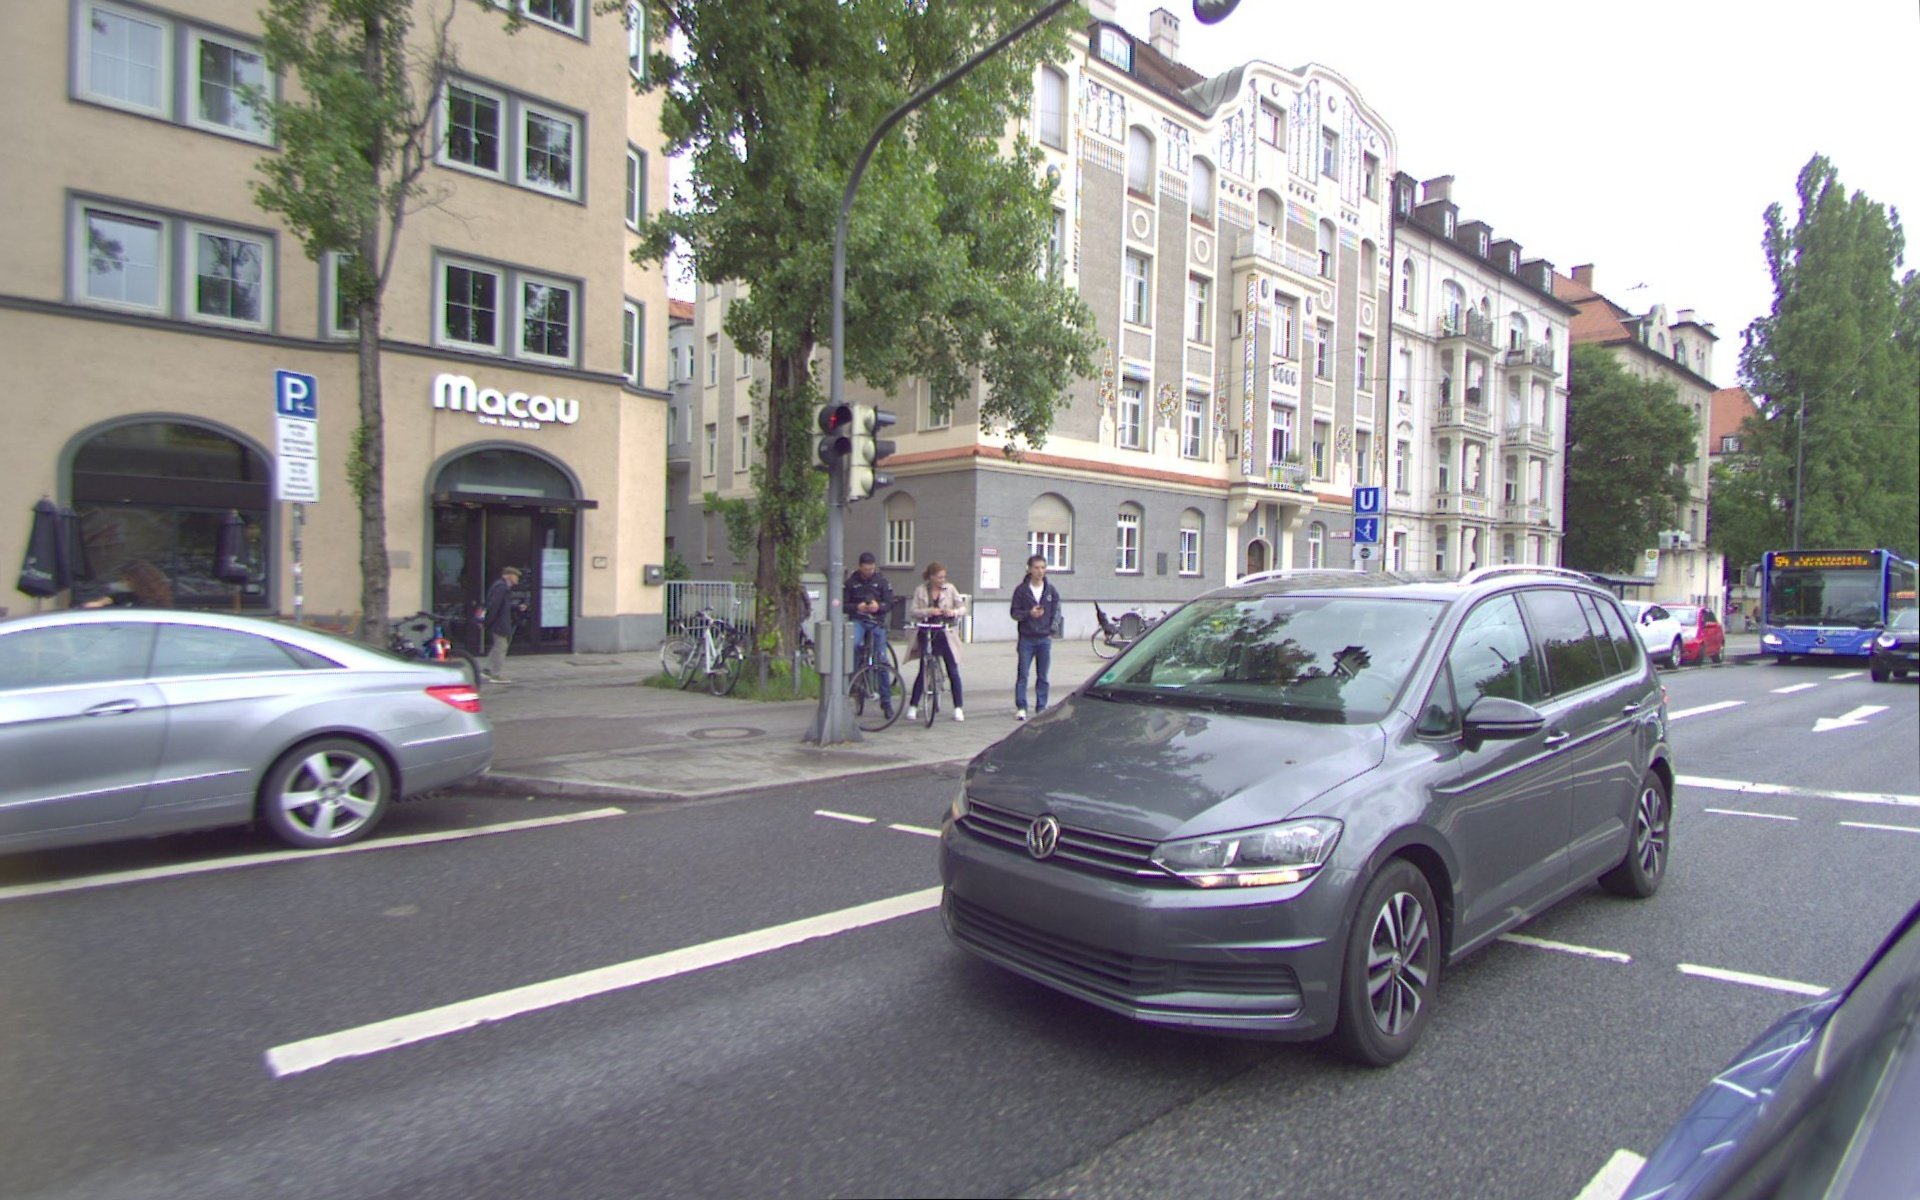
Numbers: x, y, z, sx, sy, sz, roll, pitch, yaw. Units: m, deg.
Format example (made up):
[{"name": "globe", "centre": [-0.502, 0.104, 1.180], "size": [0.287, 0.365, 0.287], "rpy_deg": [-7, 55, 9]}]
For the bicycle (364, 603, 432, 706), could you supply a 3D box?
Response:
[{"name": "bicycle", "centre": [-6.850, 0.617, 12.298], "size": [0.439, 1.123, 1.802], "rpy_deg": [1, 1, -38]}]

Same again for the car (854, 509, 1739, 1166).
[{"name": "car", "centre": [1.924, 0.591, 4.742], "size": [4.624, 1.667, 1.775], "rpy_deg": [0, 0, -40]}]

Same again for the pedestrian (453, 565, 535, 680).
[{"name": "pedestrian", "centre": [-6.874, 0.312, 14.957], "size": [0.807, 1.622, 0.849], "rpy_deg": [1, 1, -1]}]

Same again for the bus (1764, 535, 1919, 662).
[{"name": "bus", "centre": [25.081, -0.020, 28.073], "size": [9.299, 3.012, 2.635], "rpy_deg": [0, 0, -41]}]

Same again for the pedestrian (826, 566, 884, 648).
[{"name": "pedestrian", "centre": [-2.295, 0.147, 22.167], "size": [0.999, 1.735, 0.747], "rpy_deg": [0, 1, -40]}]

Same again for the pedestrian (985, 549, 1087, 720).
[{"name": "pedestrian", "centre": [0.843, 0.365, 11.337], "size": [0.741, 1.824, 0.883], "rpy_deg": [2, 0, -30]}]

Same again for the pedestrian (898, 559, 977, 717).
[{"name": "pedestrian", "centre": [-0.238, 0.401, 11.121], "size": [0.743, 1.658, 0.700], "rpy_deg": [1, 0, 7]}]

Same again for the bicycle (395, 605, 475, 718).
[{"name": "bicycle", "centre": [-5.682, 0.615, 10.902], "size": [0.439, 1.124, 1.801], "rpy_deg": [1, -1, -38]}]

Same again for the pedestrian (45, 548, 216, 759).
[{"name": "pedestrian", "centre": [-6.540, 0.404, 8.020], "size": [0.747, 1.582, 0.764], "rpy_deg": [1, 0, -10]}]

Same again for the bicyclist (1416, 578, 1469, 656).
[{"name": "bicyclist", "centre": [10.475, 0.354, 21.953], "size": [0.923, 1.623, 0.681], "rpy_deg": [0, 1, -40]}]

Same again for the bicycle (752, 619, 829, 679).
[{"name": "bicycle", "centre": [-2.649, 0.735, 15.687], "size": [0.385, 0.845, 1.574], "rpy_deg": [0, 1, -42]}]

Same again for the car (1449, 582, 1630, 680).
[{"name": "car", "centre": [11.456, 0.536, 19.890], "size": [4.424, 1.681, 1.736], "rpy_deg": [0, 2, -42]}]

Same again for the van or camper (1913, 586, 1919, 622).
[{"name": "van or camper", "centre": [59.882, 0.292, 61.656], "size": [5.419, 2.125, 2.122], "rpy_deg": [0, 2, -42]}]

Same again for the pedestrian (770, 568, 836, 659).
[{"name": "pedestrian", "centre": [-3.049, 0.245, 19.646], "size": [0.999, 1.706, 0.747], "rpy_deg": [0, 1, -40]}]

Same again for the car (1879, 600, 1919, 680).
[{"name": "car", "centre": [19.954, 0.749, 20.294], "size": [3.901, 1.523, 1.778], "rpy_deg": [0, -1, -41]}]

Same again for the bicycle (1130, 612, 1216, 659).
[{"name": "bicycle", "centre": [4.599, 0.764, 21.840], "size": [1.801, 0.990, 0.393], "rpy_deg": [0, 1, -13]}]

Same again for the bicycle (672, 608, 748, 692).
[{"name": "bicycle", "centre": [-3.443, 0.654, 13.853], "size": [0.385, 1.063, 1.576], "rpy_deg": [0, 1, -39]}]

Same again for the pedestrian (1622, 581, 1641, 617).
[{"name": "pedestrian", "centre": [35.669, -0.062, 53.771], "size": [0.661, 1.919, 0.609], "rpy_deg": [0, 1, -38]}]

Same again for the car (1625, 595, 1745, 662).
[{"name": "car", "centre": [18.777, 0.685, 26.169], "size": [3.678, 1.527, 1.729], "rpy_deg": [0, 2, -42]}]

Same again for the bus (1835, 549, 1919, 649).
[{"name": "bus", "centre": [31.810, -0.020, 33.841], "size": [8.383, 3.012, 2.635], "rpy_deg": [0, 0, -41]}]

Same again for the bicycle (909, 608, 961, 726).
[{"name": "bicycle", "centre": [-0.254, 0.680, 11.049], "size": [0.353, 1.116, 1.743], "rpy_deg": [2, 2, 5]}]

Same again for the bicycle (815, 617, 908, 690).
[{"name": "bicycle", "centre": [-1.435, 0.734, 14.407], "size": [0.385, 0.928, 1.838], "rpy_deg": [0, 1, -38]}]

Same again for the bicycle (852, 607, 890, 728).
[{"name": "bicycle", "centre": [-0.962, 0.675, 10.862], "size": [0.352, 1.116, 1.747], "rpy_deg": [1, 2, -6]}]

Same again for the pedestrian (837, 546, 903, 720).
[{"name": "pedestrian", "centre": [-0.981, 0.345, 10.923], "size": [0.638, 1.803, 0.702], "rpy_deg": [1, 0, -7]}]

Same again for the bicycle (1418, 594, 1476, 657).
[{"name": "bicycle", "centre": [10.598, 0.540, 21.988], "size": [1.746, 1.304, 0.424], "rpy_deg": [0, 1, -40]}]

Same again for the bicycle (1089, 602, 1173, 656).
[{"name": "bicycle", "centre": [3.877, 0.655, 22.995], "size": [1.855, 1.169, 0.464], "rpy_deg": [1, 1, 8]}]

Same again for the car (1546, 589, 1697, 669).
[{"name": "car", "centre": [15.067, 0.605, 23.003], "size": [3.895, 1.596, 1.730], "rpy_deg": [0, 2, -39]}]

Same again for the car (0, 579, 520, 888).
[{"name": "car", "centre": [-5.129, 0.626, 5.724], "size": [4.452, 1.458, 1.996], "rpy_deg": [0, 1, -43]}]
